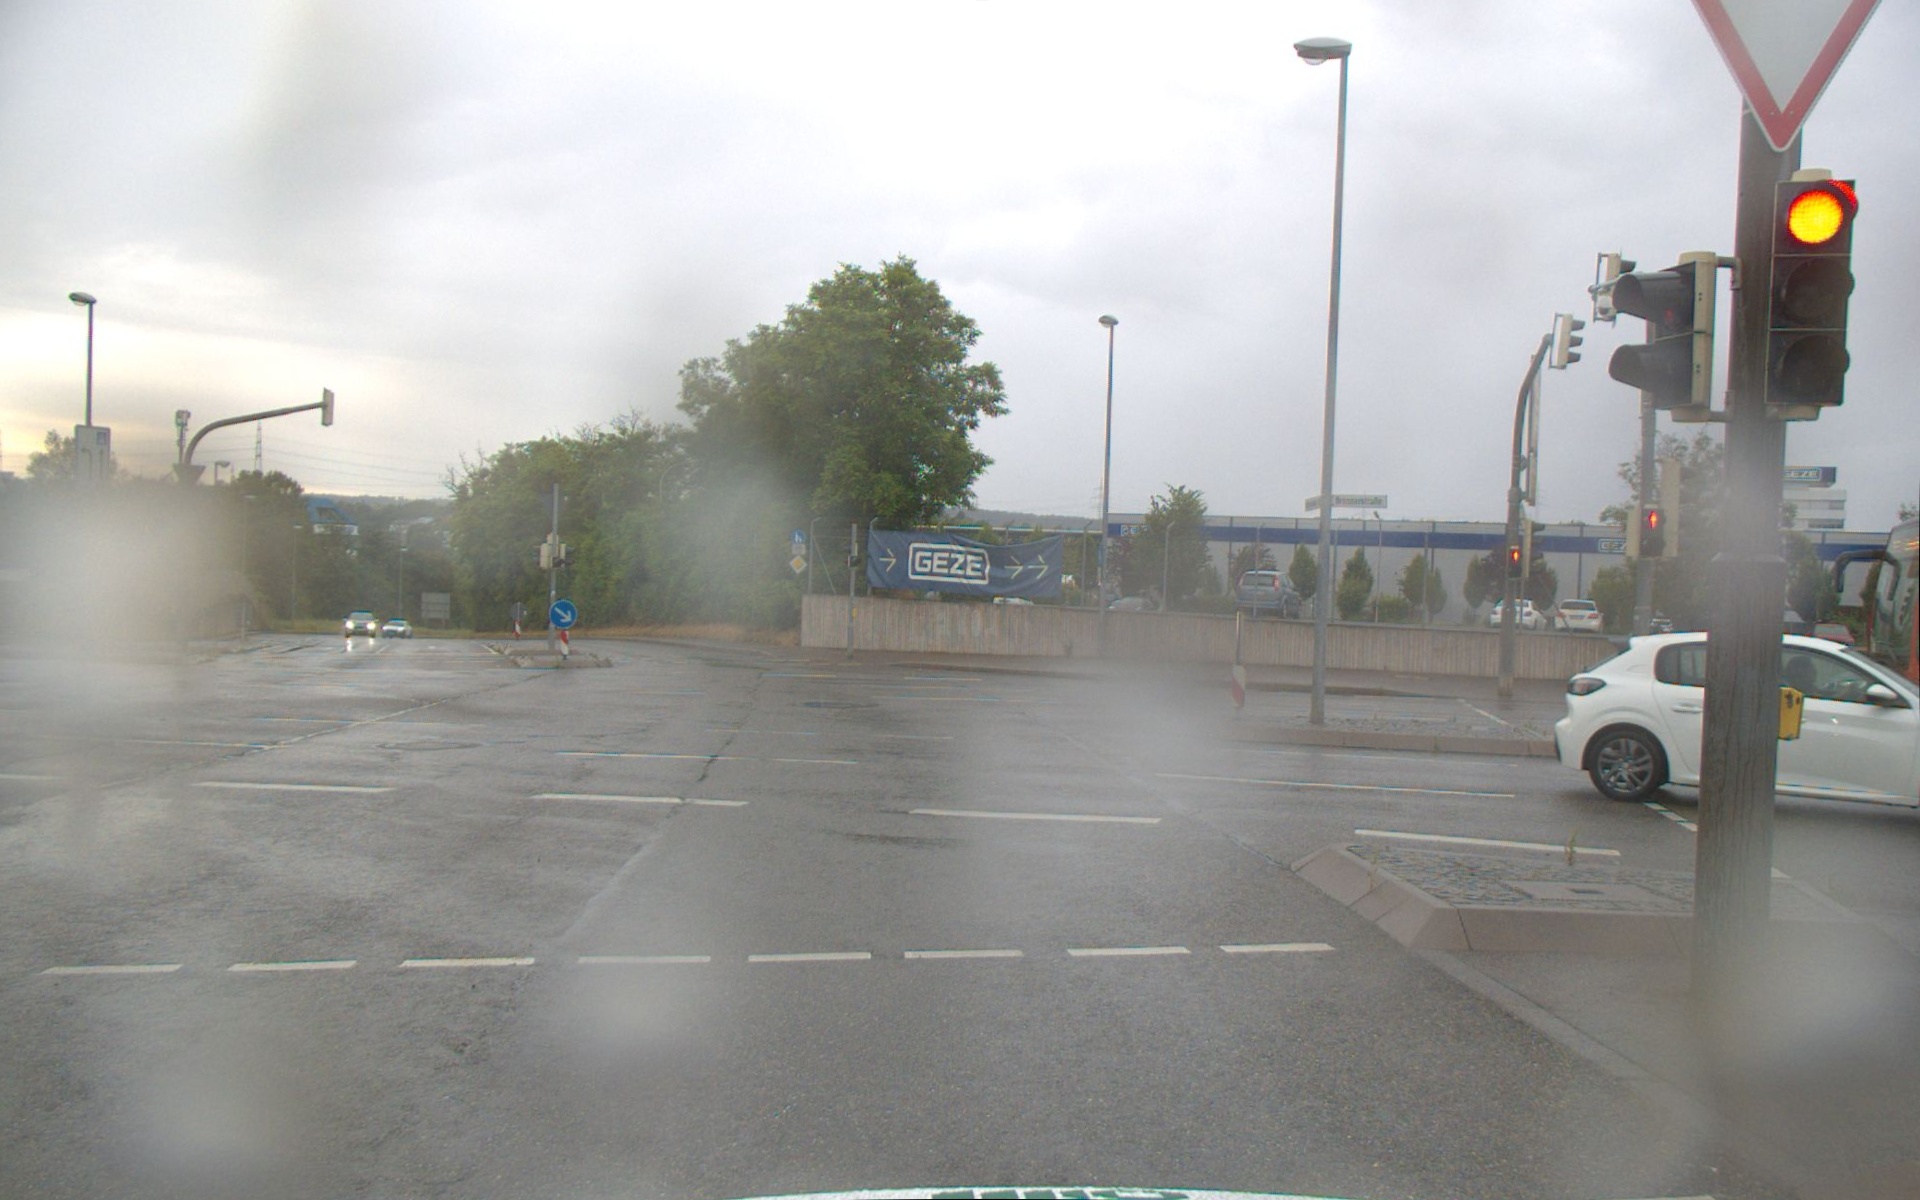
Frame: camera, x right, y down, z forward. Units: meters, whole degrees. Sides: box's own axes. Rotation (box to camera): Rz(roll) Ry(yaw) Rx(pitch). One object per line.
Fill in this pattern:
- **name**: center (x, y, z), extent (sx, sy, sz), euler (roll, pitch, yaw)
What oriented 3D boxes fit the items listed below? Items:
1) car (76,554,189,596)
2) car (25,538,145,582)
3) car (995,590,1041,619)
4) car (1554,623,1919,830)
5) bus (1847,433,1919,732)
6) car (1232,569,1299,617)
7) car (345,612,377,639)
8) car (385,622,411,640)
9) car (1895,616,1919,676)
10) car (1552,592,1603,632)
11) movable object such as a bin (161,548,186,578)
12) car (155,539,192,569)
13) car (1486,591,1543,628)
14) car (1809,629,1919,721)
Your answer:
- **car**: center (-35.115, -1.060, 70.220), extent (3.902, 1.614, 1.903), euler (1, -2, 12)
- **car**: center (-35.844, -1.619, 67.821), extent (3.902, 1.614, 1.903), euler (1, -2, 8)
- **car**: center (3.358, 0.295, 95.940), extent (1.632, 1.634, 3.531), euler (1, 0, 20)
- **car**: center (7.204, 1.003, 13.926), extent (3.893, 1.534, 1.868), euler (1, 0, 29)
- **bus**: center (17.736, 0.106, 19.848), extent (11.995, 3.638, 2.988), euler (3, 0, 17)
- **car**: center (10.654, -0.220, 57.593), extent (1.707, 1.580, 3.531), euler (1, 0, 20)
- **car**: center (-35.450, 1.491, 97.853), extent (1.638, 1.521, 3.973), euler (1, -1, -22)
- **car**: center (-48.276, 2.670, 142.089), extent (1.690, 1.521, 3.986), euler (1, -1, -13)
- **car**: center (33.996, 1.601, 57.748), extent (1.707, 2.049, 3.824), euler (1, 0, 20)
- **car**: center (25.455, 0.495, 68.095), extent (1.820, 1.552, 4.103), euler (1, 0, 22)
- **movable object such as a bin**: center (-40.957, -1.906, 86.160), extent (1.071, 1.462, 1.434), euler (3, -2, -27)
- **car**: center (-44.896, -2.587, 94.377), extent (1.806, 1.467, 3.964), euler (3, -2, -27)
- **car**: center (23.040, 0.409, 68.689), extent (1.781, 1.459, 4.100), euler (1, 0, 25)
- **car**: center (16.272, 1.246, 26.675), extent (4.286, 1.378, 1.827), euler (2, 0, 16)
